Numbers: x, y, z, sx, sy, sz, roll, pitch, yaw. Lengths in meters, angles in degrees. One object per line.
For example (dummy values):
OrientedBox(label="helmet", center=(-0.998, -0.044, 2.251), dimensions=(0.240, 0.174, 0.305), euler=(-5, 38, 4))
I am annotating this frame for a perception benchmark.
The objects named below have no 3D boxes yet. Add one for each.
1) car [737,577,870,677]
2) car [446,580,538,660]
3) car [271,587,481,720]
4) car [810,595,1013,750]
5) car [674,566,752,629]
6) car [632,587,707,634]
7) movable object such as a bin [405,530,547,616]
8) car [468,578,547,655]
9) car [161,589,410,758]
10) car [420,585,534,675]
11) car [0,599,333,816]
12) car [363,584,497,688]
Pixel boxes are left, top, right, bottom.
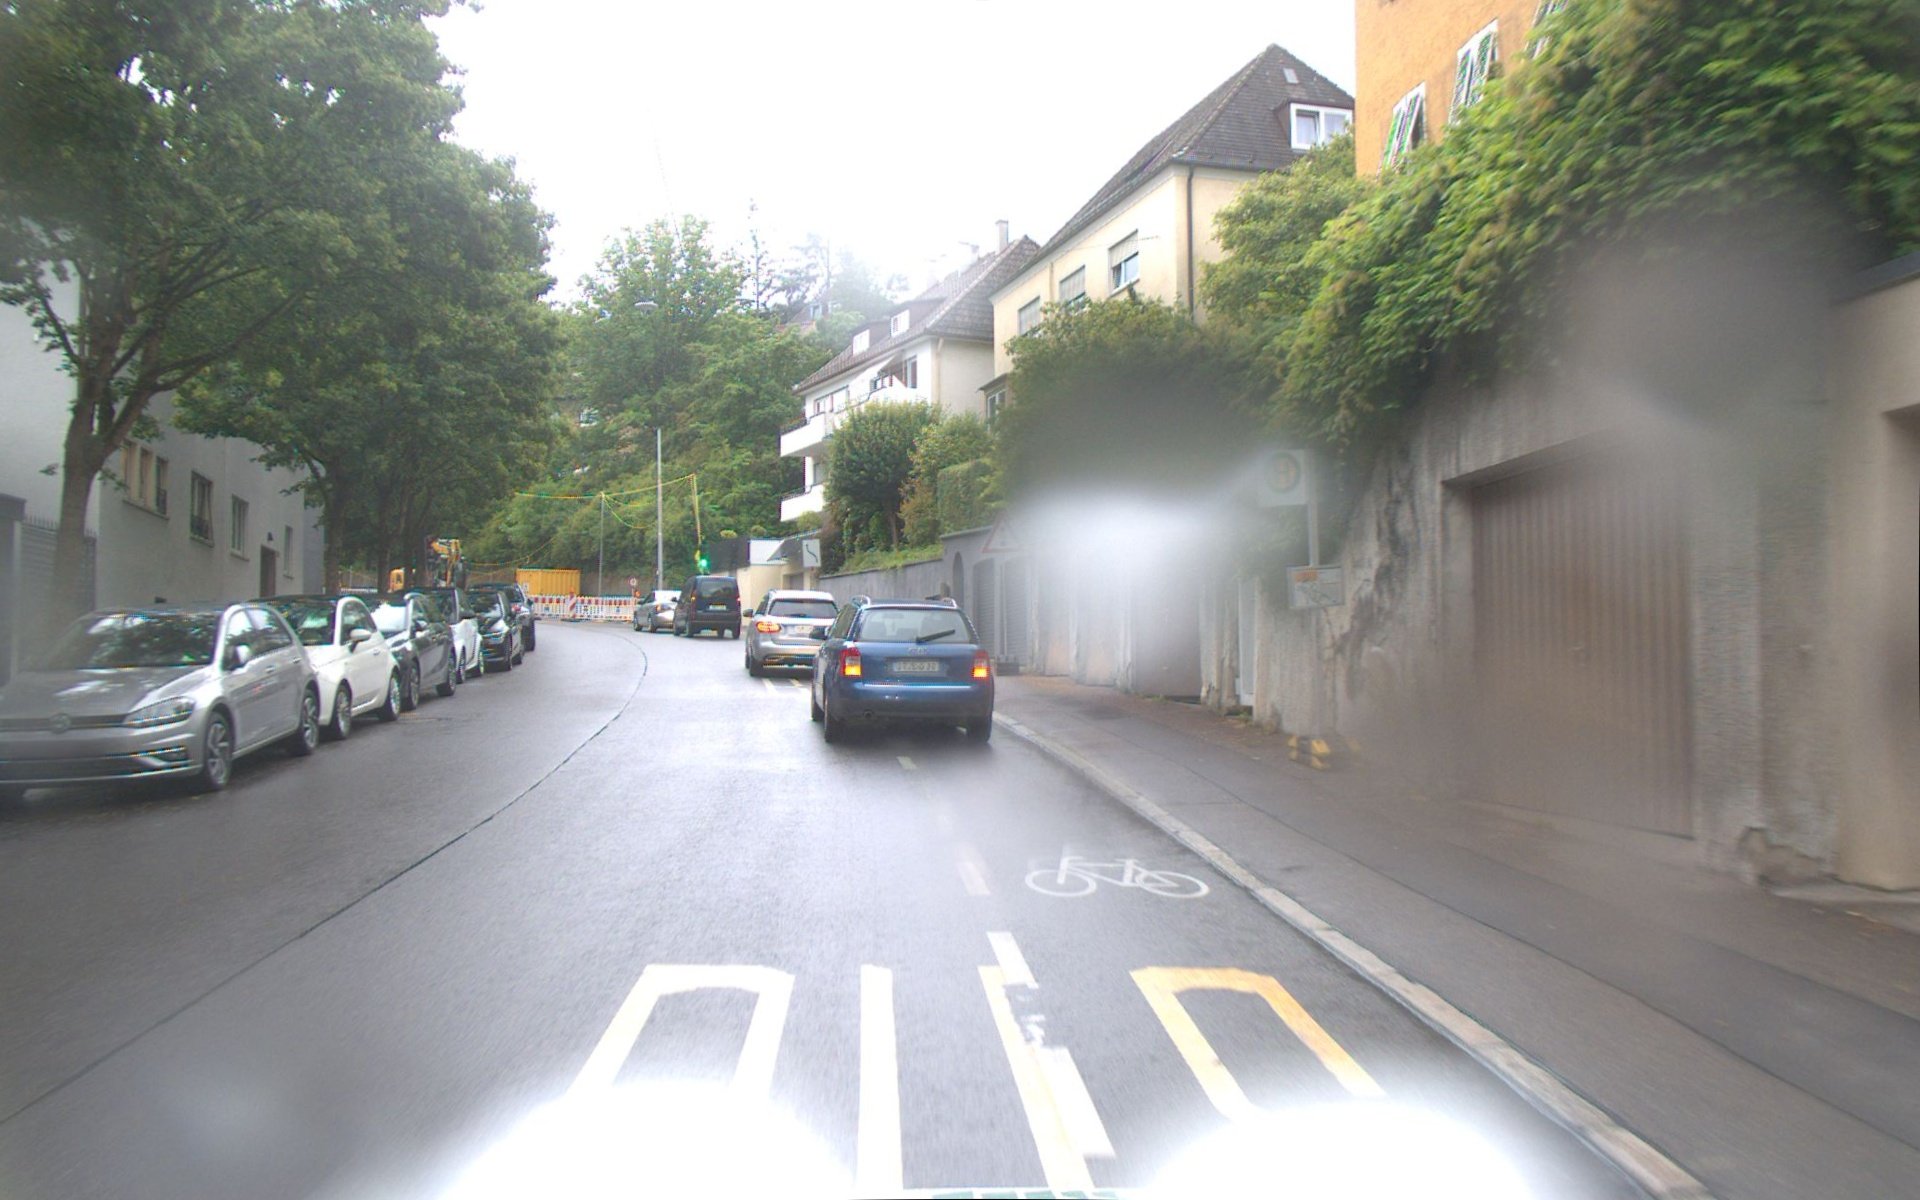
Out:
OrientedBox(label="car", center=(-2.878, 0.431, 29.618), dimensions=(1.892, 1.646, 4.308), euler=(1, 1, -12))
OrientedBox(label="car", center=(-10.212, 0.427, 36.300), dimensions=(1.604, 1.592, 3.837), euler=(-2, 0, -12))
OrientedBox(label="car", center=(-7.770, 0.661, 22.414), dimensions=(1.632, 1.514, 4.469), euler=(-4, 0, -7))
OrientedBox(label="car", center=(-0.639, 0.683, 17.862), dimensions=(1.752, 1.467, 3.956), euler=(0, 0, -8))
OrientedBox(label="car", center=(-7.627, -0.088, 50.874), dimensions=(1.960, 1.825, 3.985), euler=(-1, 1, -14))
OrientedBox(label="car", center=(-9.930, 0.325, 56.317), dimensions=(1.697, 1.512, 4.049), euler=(-1, 1, -22))
OrientedBox(label="movable object such as a bin", center=(-23.807, -1.345, 81.172), dimensions=(7.177, 4.084, 2.819), euler=(1, 1, 35))
OrientedBox(label="car", center=(-11.365, 0.363, 41.688), dimensions=(1.655, 1.635, 4.559), euler=(-7, 3, -15))
OrientedBox(label="car", center=(-7.188, 0.708, 17.961), dimensions=(1.544, 1.514, 3.464), euler=(-4, 1, -7))
OrientedBox(label="car", center=(-9.181, 0.551, 31.702), dimensions=(1.527, 1.514, 4.088), euler=(-4, 0, -10))
OrientedBox(label="car", center=(-6.690, 0.795, 13.979), dimensions=(1.587, 1.496, 3.966), euler=(-3, 0, -7))
OrientedBox(label="car", center=(-8.868, 0.579, 27.908), dimensions=(1.526, 1.537, 3.377), euler=(-4, 0, -8))
